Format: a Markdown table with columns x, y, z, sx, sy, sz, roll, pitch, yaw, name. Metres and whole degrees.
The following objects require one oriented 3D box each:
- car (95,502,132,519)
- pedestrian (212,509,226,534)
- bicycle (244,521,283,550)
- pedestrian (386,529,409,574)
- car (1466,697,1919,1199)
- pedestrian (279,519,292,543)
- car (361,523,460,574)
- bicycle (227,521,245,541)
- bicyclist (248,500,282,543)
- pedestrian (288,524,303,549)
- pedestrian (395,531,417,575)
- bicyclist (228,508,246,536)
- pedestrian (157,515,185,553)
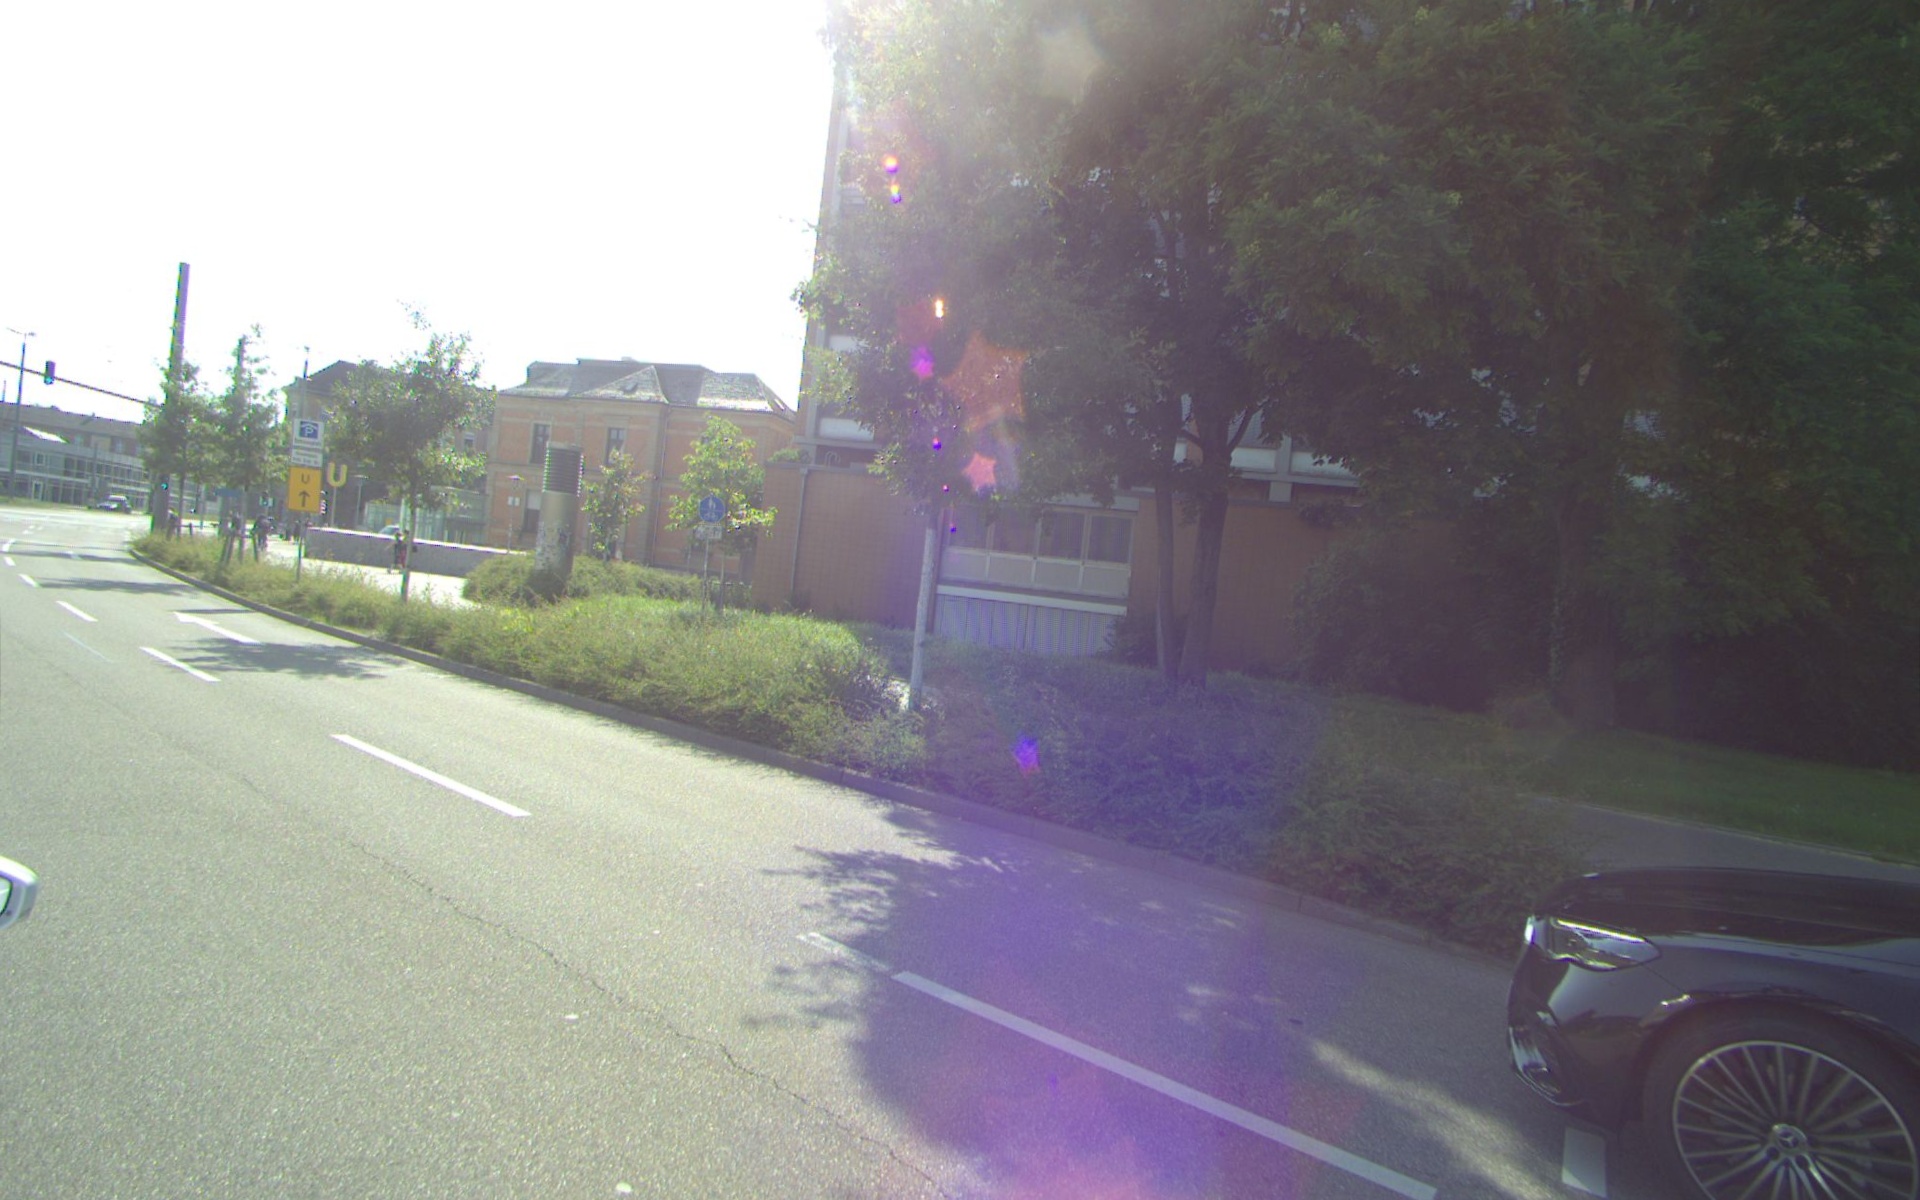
| x | y | z | sx | sy | sz | roll | pitch | yaw | name |
| --- | --- | --- | --- | --- | --- | --- | --- | --- | --- |
| -94.716 | -10.013 | 112.606 | 1.973 | 1.460 | 3.979 | 7 | 0 | -22 | car |
| -63.283 | -6.722 | 85.945 | 0.741 | 2.039 | 0.799 | 6 | 1 | -34 | pedestrian |
| -28.122 | -2.605 | 40.624 | 2.120 | 0.988 | 0.770 | 6 | 0 | 42 | bicycle |
| -21.576 | -1.859 | 38.615 | 0.609 | 1.659 | 0.530 | 6 | 1 | -27 | pedestrian |
| 4.147 | 1.336 | 2.466 | 4.804 | 1.457 | 1.819 | 6 | -1 | 40 | car |
| -58.565 | -5.985 | 87.384 | 0.741 | 2.039 | 0.799 | 6 | 1 | -34 | pedestrian |
| -27.848 | -2.579 | 51.094 | 1.722 | 2.039 | 3.997 | 10 | 1 | 24 | car |
| -42.758 | -4.077 | 59.419 | 0.701 | 1.074 | 1.964 | 6 | 0 | -33 | bicycle |
| -28.067 | -3.178 | 40.621 | 0.977 | 1.598 | 0.770 | 7 | 0 | 42 | bicyclist |
| -44.411 | -4.266 | 67.245 | 0.741 | 1.549 | 0.799 | 6 | 1 | -34 | pedestrian |
| -21.607 | -1.841 | 39.264 | 0.609 | 1.649 | 0.530 | 6 | 1 | -29 | pedestrian |
| -42.701 | -4.617 | 59.406 | 0.708 | 1.549 | 0.799 | 6 | 1 | -34 | bicyclist |
| -30.882 | -2.598 | 39.383 | 0.625 | 1.379 | 0.635 | 7 | 1 | 39 | pedestrian |
